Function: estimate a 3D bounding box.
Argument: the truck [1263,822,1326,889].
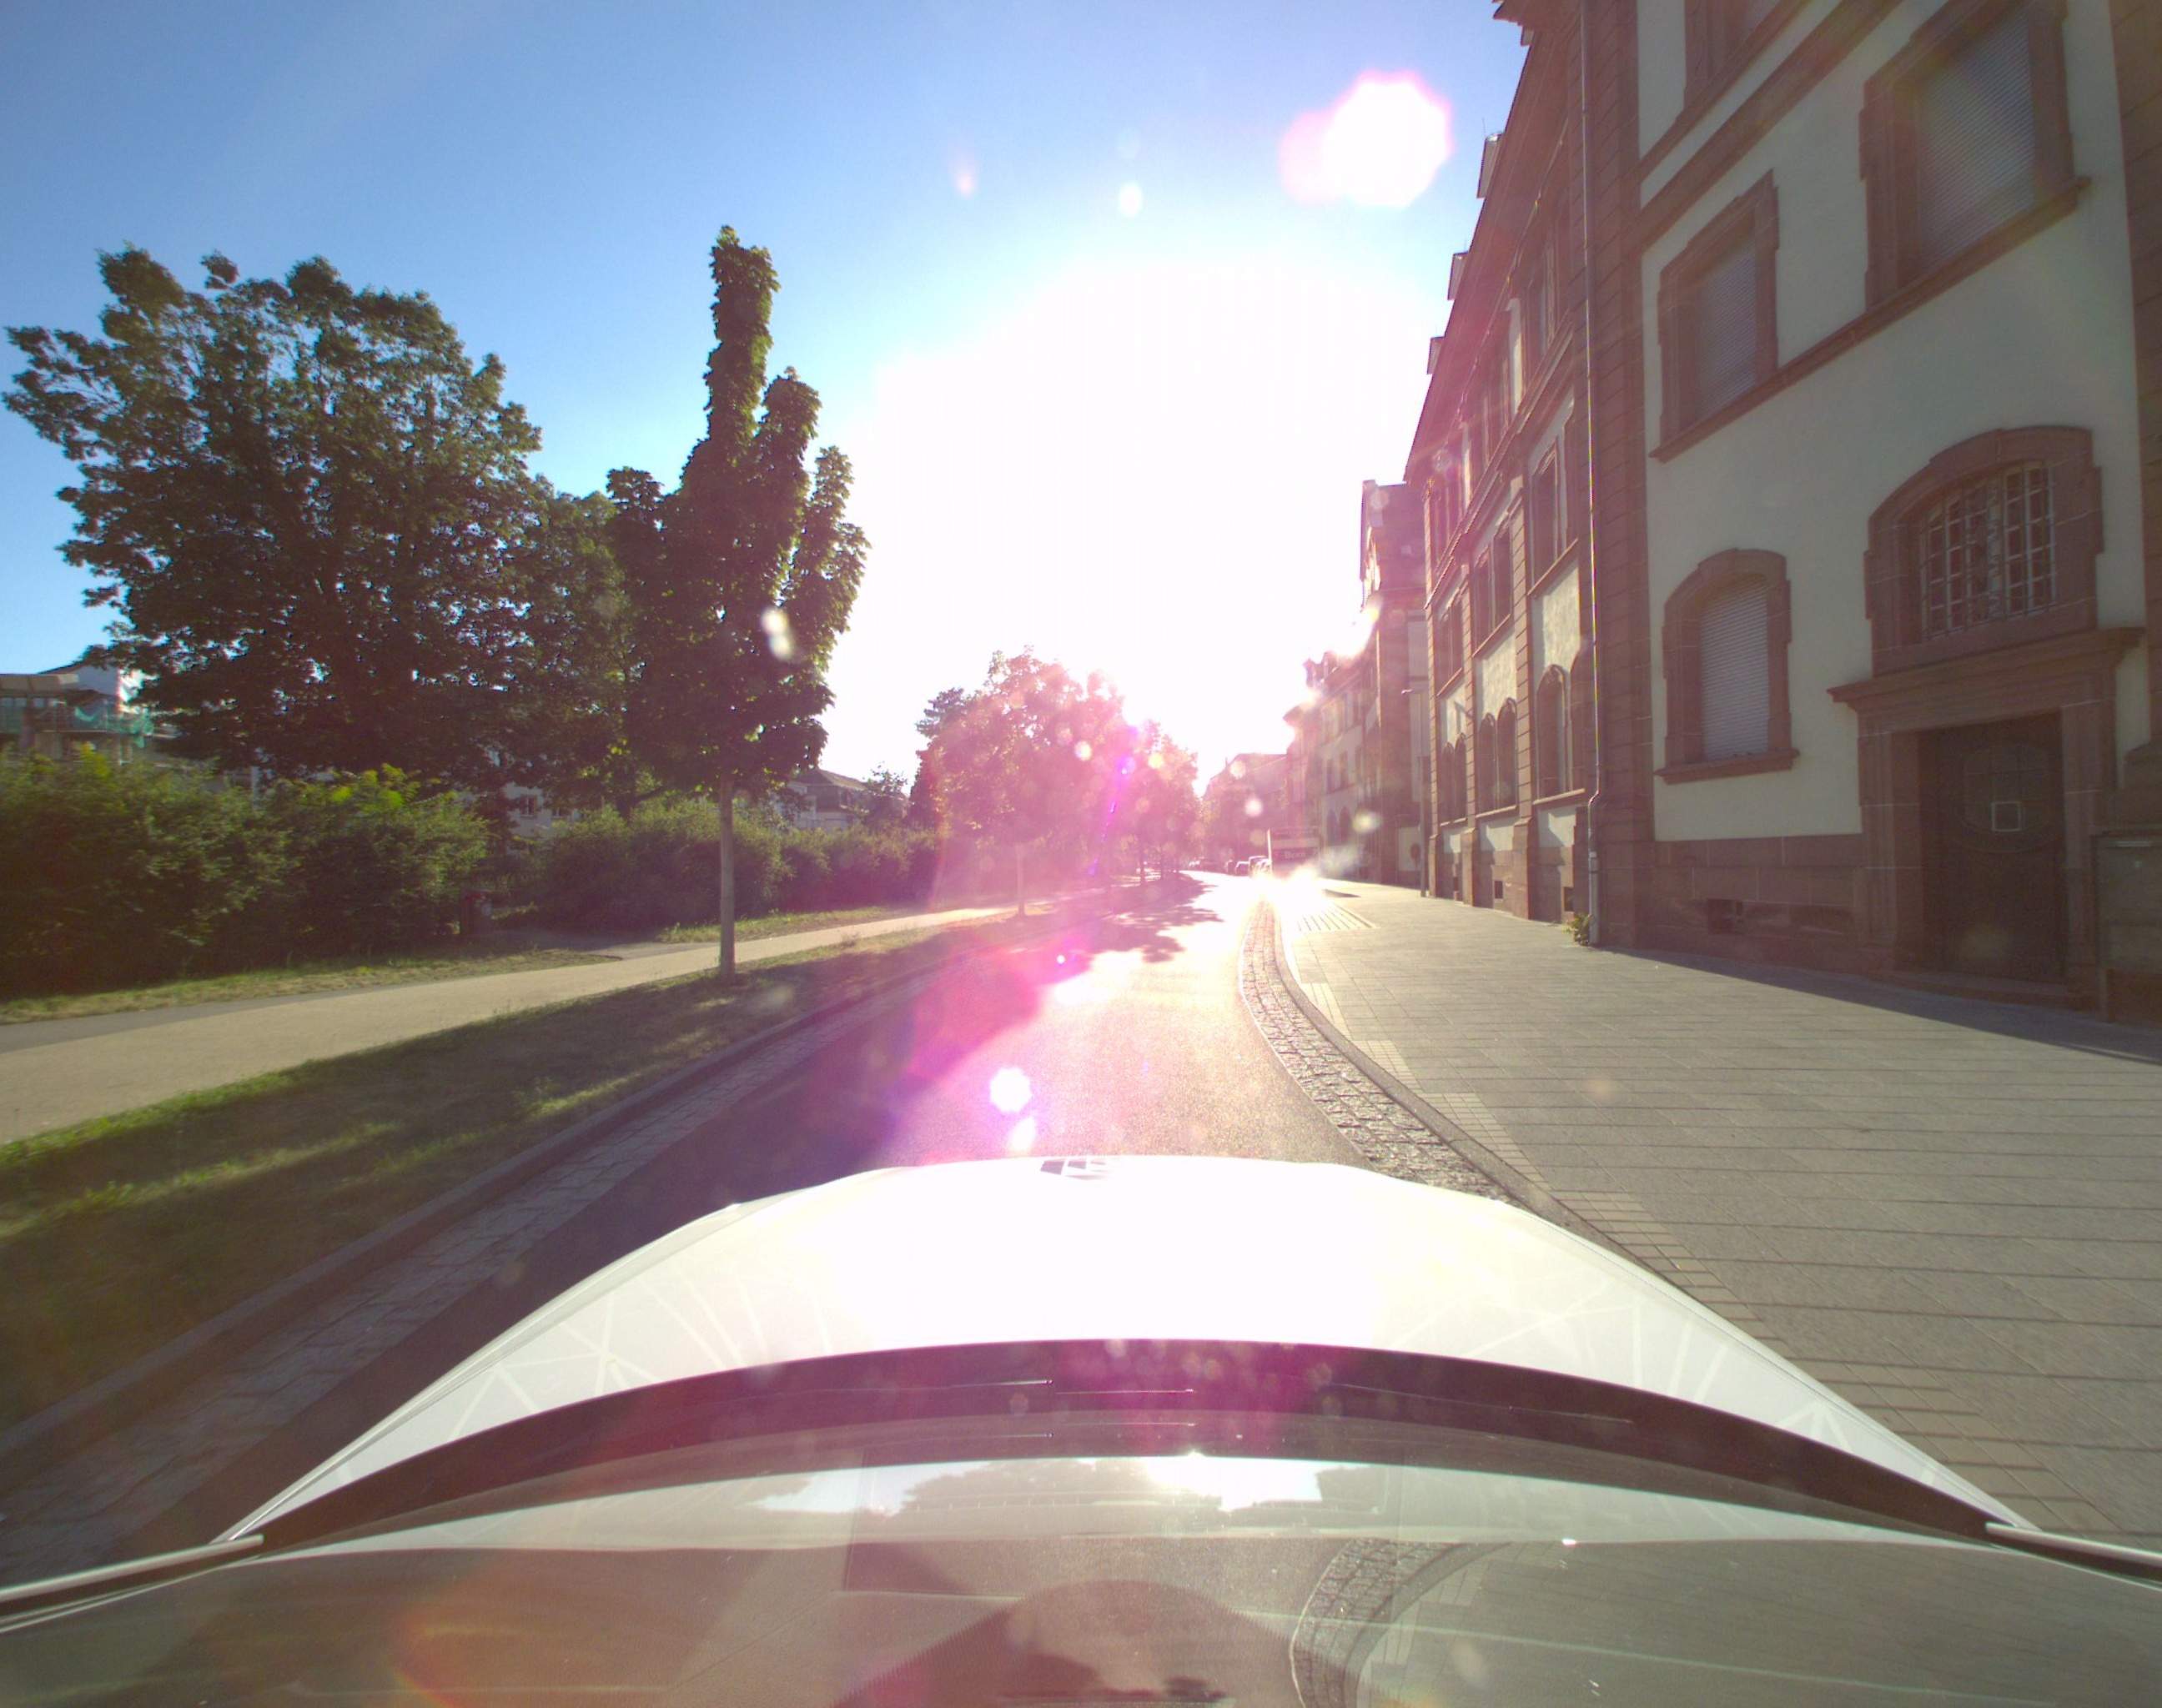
[{"bbox_3d":[10.869,0.078,41.974,2.607,3.121,6.104,-2,-1,10],"label":"truck"}]

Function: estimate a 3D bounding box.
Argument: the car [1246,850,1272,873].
[{"bbox_3d":[16.926,0.718,77.657,1.982,1.966,4.862,-5,-2,9],"label":"car"}]

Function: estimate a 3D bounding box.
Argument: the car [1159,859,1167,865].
[{"bbox_3d":[20.476,1.992,204.259,1.786,1.510,4.004,-1,-1,4],"label":"car"}]

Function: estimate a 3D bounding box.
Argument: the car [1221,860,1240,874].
[{"bbox_3d":[18.309,1.577,100.088,1.717,1.669,4.117,-3,0,3],"label":"car"}]

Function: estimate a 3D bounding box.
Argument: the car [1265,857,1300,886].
[{"bbox_3d":[11.727,0.996,47.595,1.756,1.530,4.587,-3,-1,12],"label":"car"}]

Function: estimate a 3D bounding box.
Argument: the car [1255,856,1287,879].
[{"bbox_3d":[14.405,1.028,61.913,1.806,1.602,4.200,-3,-1,7],"label":"car"}]

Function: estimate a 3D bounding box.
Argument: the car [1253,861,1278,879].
[{"bbox_3d":[15.185,1.286,67.326,1.669,1.403,4.210,-3,-1,9],"label":"car"}]

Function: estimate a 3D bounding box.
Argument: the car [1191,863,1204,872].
[{"bbox_3d":[20.066,2.319,140.284,1.685,1.440,3.549,-2,-1,-1],"label":"car"}]

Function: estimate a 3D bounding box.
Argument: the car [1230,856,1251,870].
[{"bbox_3d":[17.507,1.016,89.691,1.740,1.466,4.482,-1,0,4],"label":"car"}]

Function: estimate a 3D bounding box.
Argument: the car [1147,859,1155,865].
[{"bbox_3d":[18.856,2.163,218.634,1.787,1.724,4.000,-1,-1,1],"label":"car"}]

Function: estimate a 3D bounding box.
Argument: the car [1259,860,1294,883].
[{"bbox_3d":[13.505,1.160,56.351,1.861,1.436,4.532,-3,-1,8],"label":"car"}]

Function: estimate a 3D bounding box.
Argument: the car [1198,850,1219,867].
[{"bbox_3d":[20.121,0.717,128.822,2.203,2.530,6.148,-3,-1,1],"label":"car"}]
